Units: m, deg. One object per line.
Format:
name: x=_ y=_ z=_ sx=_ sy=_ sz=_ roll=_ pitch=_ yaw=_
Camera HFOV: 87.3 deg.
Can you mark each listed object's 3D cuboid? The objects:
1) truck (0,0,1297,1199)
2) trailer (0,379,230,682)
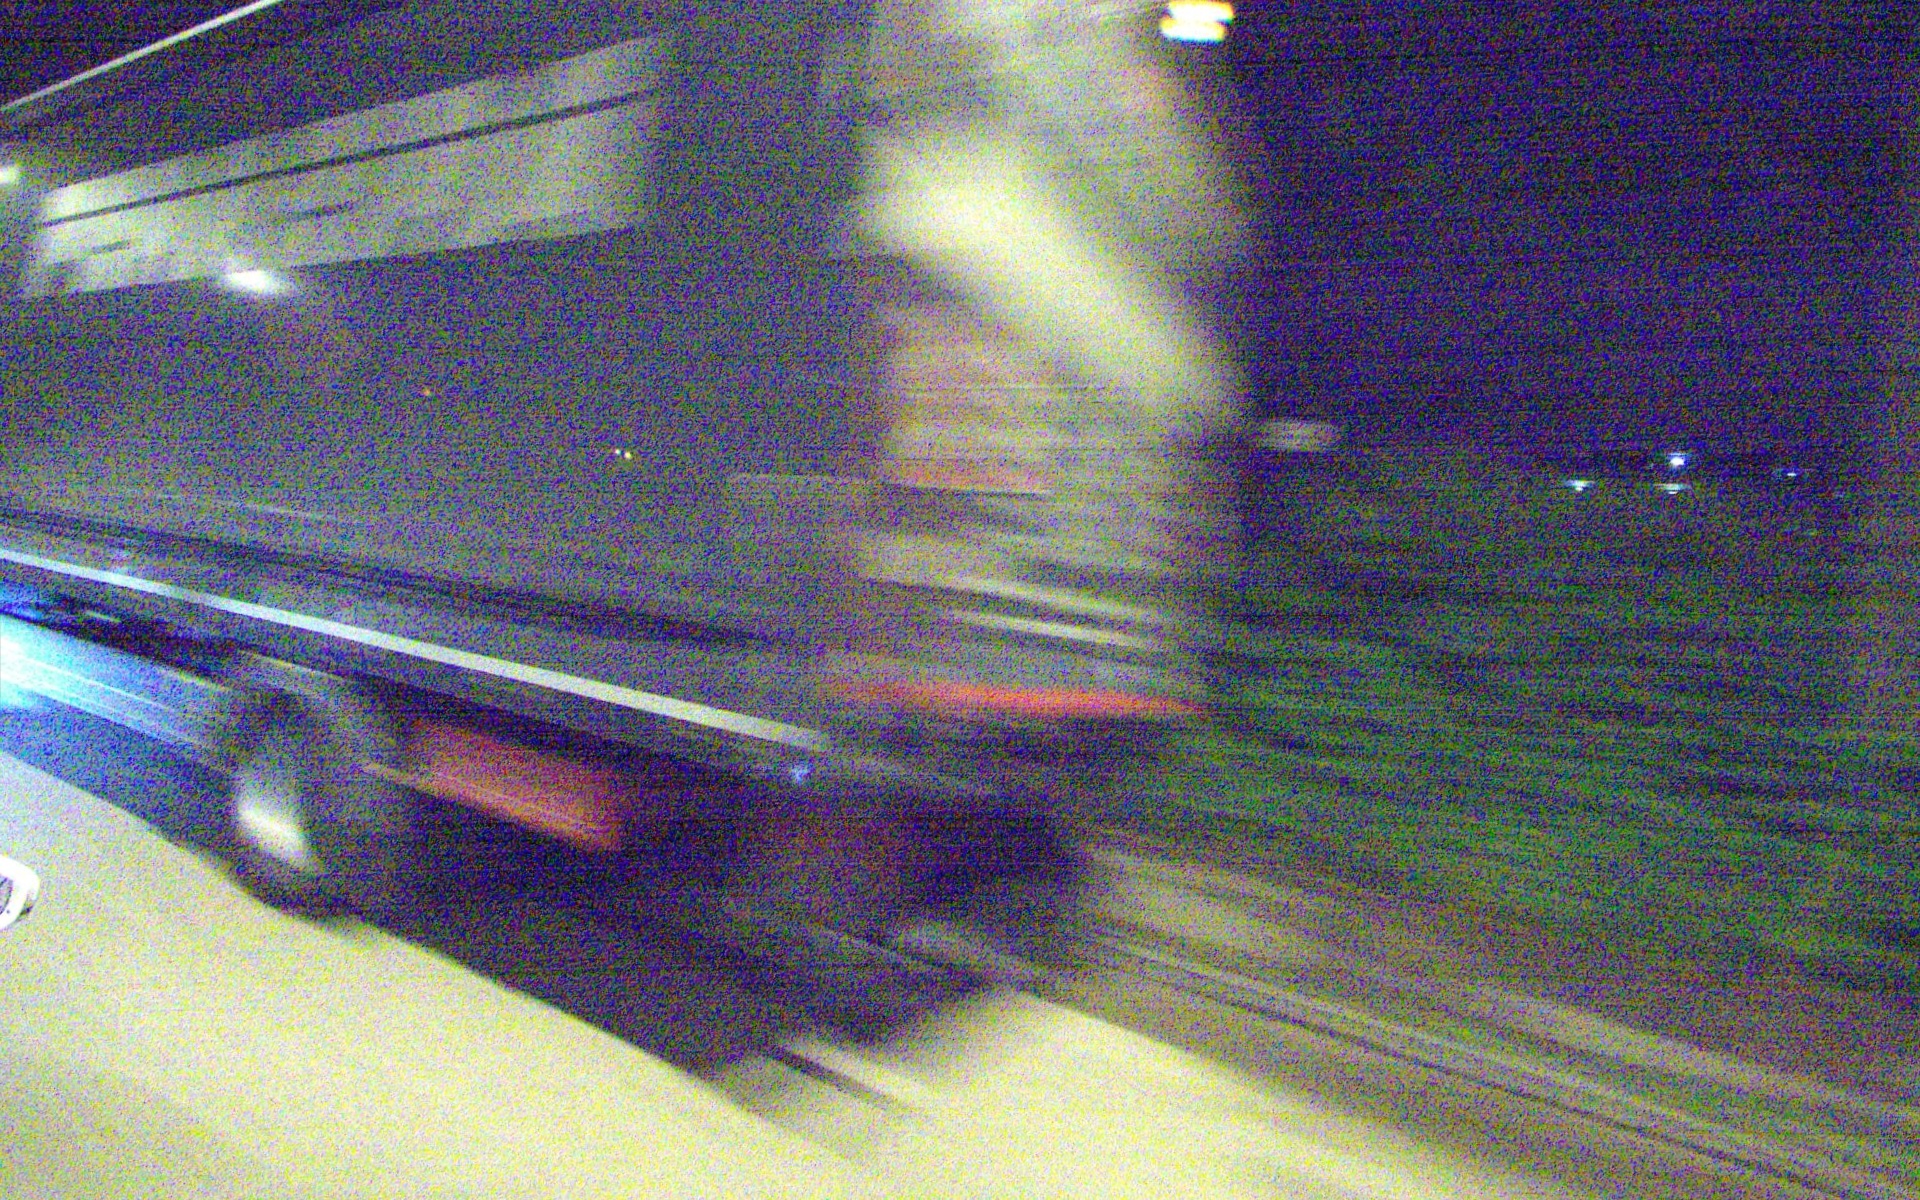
truck: x=-3.188 y=-0.744 z=6.234 sx=9.171 sy=3.915 sz=3.330 roll=7 pitch=-1 yaw=31
trailer: x=-9.735 y=-0.788 z=10.331 sx=4.943 sy=2.503 sz=1.635 roll=7 pitch=0 yaw=31
